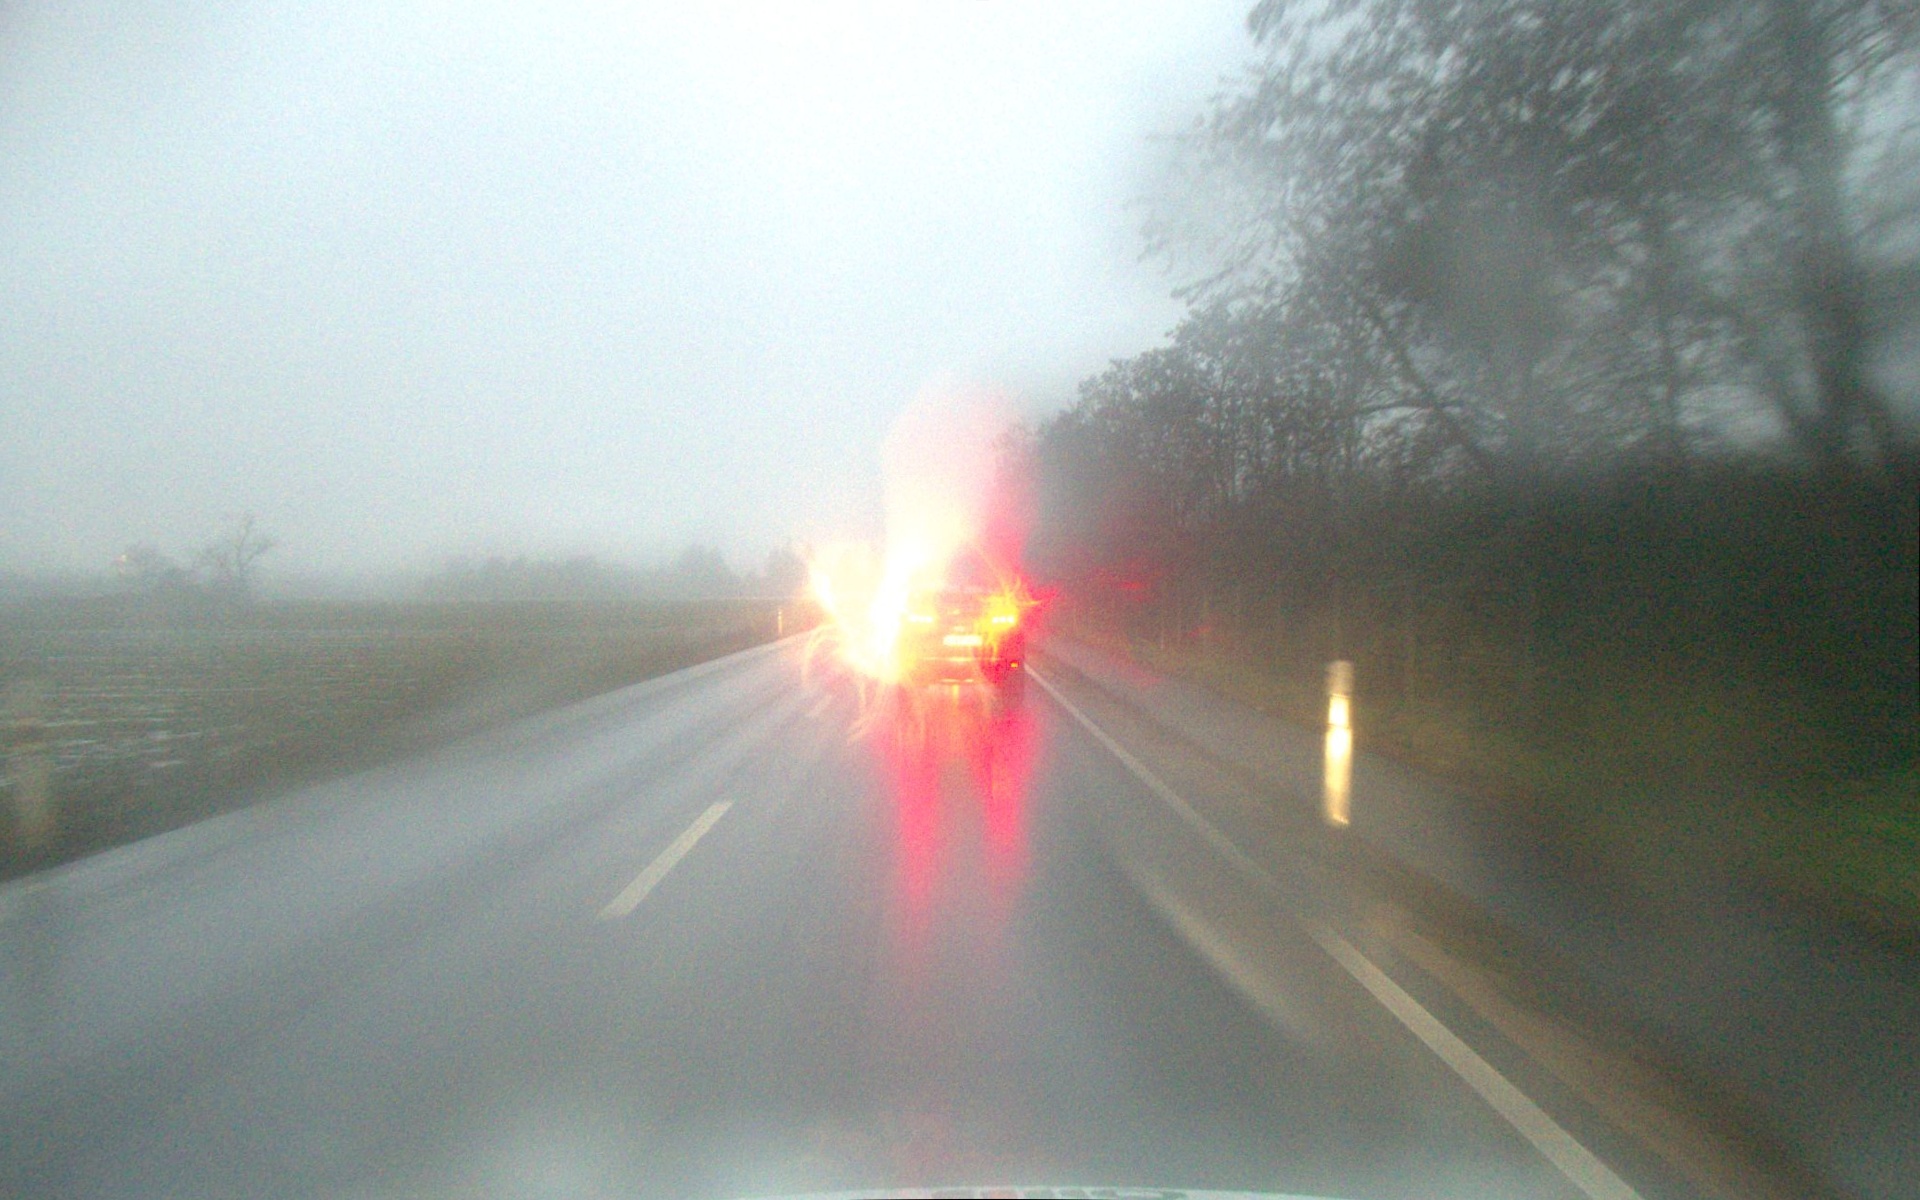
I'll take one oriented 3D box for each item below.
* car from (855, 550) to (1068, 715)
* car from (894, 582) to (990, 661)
[{"bbox_3d":[0.023,0.425,24.694,2.763,2.113,5.804,1,0,0],"label":"car"},{"bbox_3d":[-0.482,0.575,47.217,2.539,2.049,5.804,1,0,0],"label":"car"}]
